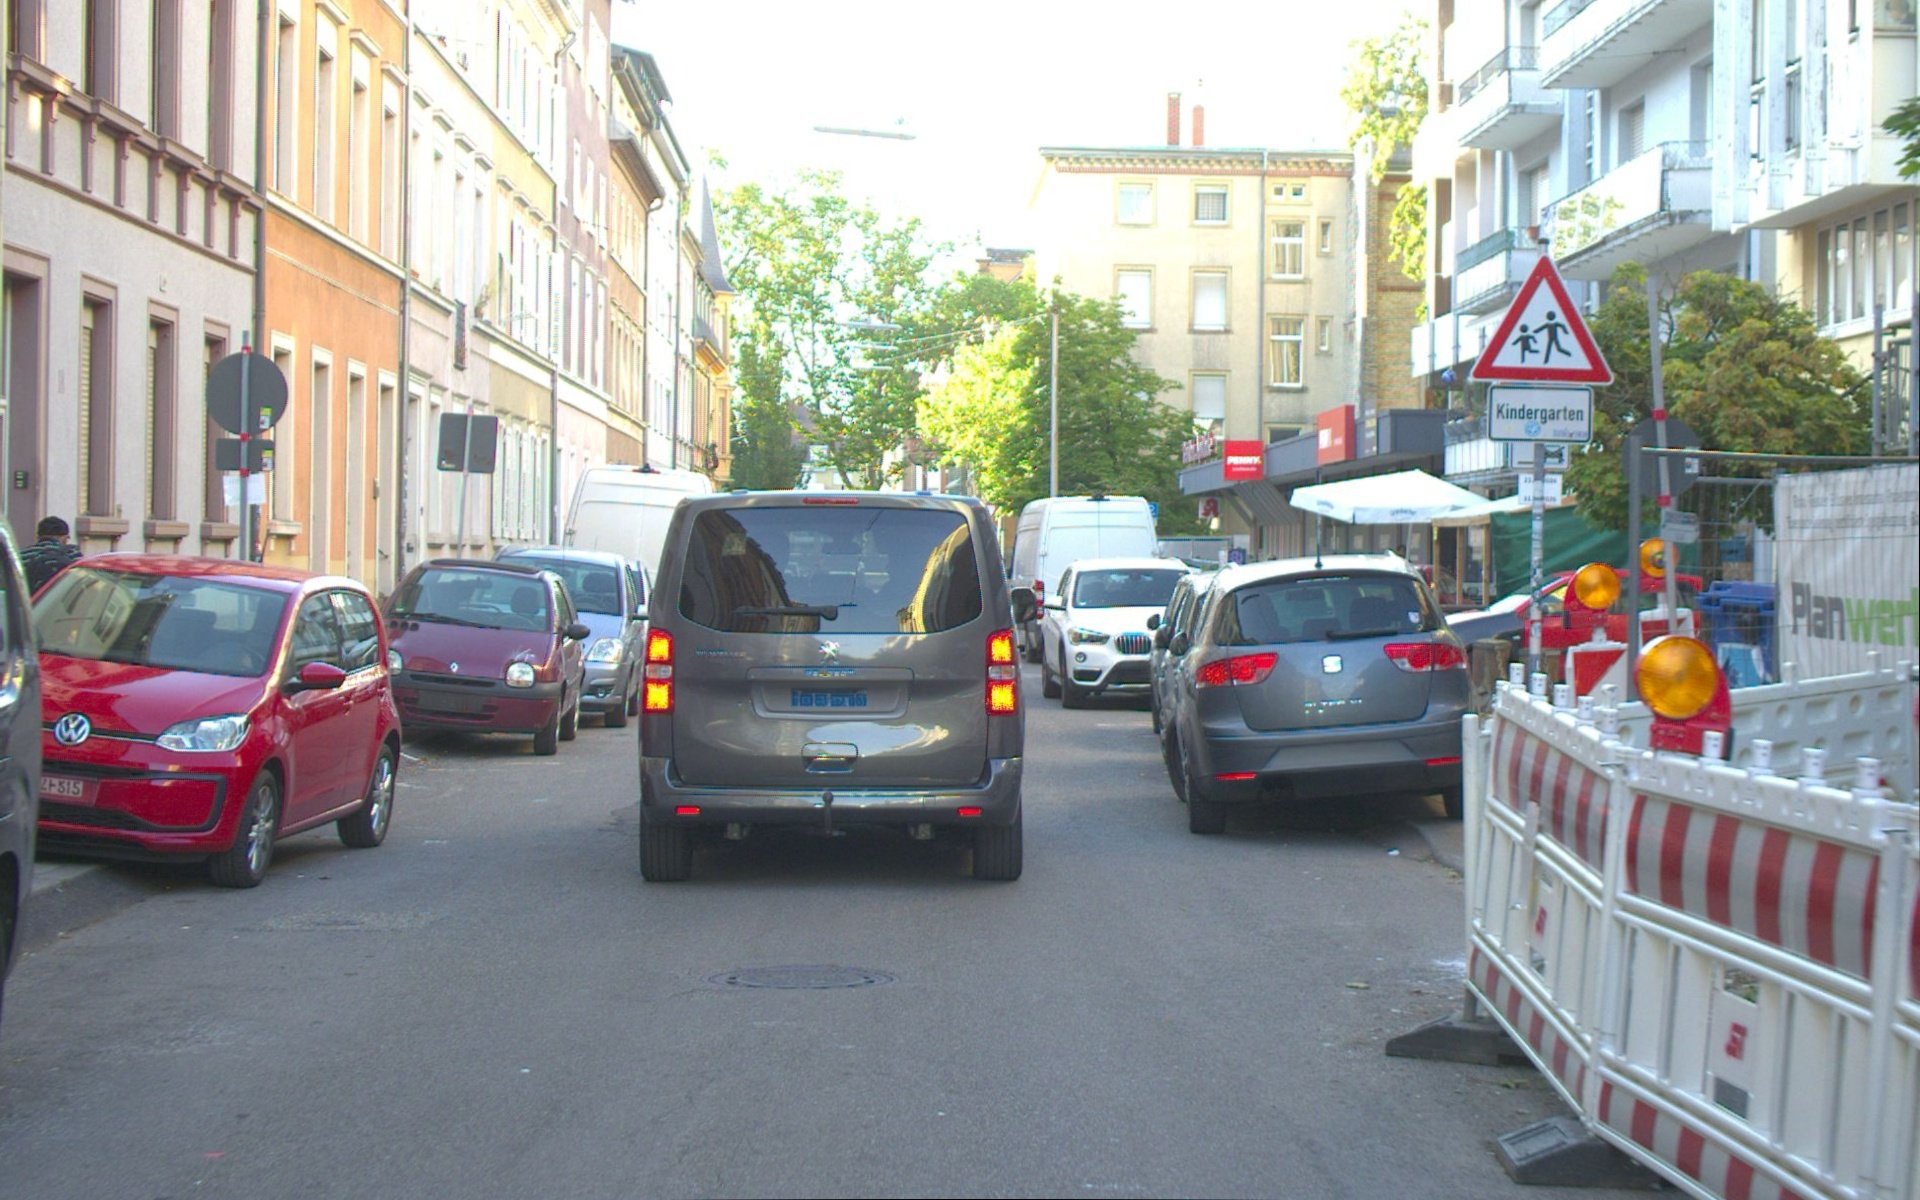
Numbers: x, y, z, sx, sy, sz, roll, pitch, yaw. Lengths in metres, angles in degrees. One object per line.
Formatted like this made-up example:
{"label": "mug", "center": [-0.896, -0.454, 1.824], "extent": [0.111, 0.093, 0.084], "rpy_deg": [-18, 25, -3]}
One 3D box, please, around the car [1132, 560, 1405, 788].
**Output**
{"label": "car", "center": [2.251, 0.496, 25.911], "extent": [1.621, 1.552, 3.694], "rpy_deg": [1, 1, -1]}

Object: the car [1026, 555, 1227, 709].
{"label": "car", "center": [1.812, 0.313, 38.723], "extent": [1.722, 1.606, 4.589], "rpy_deg": [1, 1, -4]}

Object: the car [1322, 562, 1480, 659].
{"label": "car", "center": [6.690, 0.139, 51.915], "extent": [1.602, 1.411, 3.225], "rpy_deg": [0, 1, 22]}

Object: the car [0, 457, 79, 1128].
{"label": "car", "center": [-3.564, 0.535, 8.031], "extent": [1.993, 1.852, 4.585], "rpy_deg": [1, 1, -3]}

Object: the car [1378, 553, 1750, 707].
{"label": "car", "center": [6.921, 0.328, 39.606], "extent": [3.895, 1.602, 1.694], "rpy_deg": [2, 1, -2]}

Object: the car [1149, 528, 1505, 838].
{"label": "car", "center": [2.174, 0.432, 21.482], "extent": [1.749, 1.677, 4.525], "rpy_deg": [2, 1, 1]}

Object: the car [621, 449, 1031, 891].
{"label": "car", "center": [-0.687, 0.288, 17.853], "extent": [1.857, 2.007, 4.000], "rpy_deg": [-1, 1, -2]}

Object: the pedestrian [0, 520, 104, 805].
{"label": "pedestrian", "center": [-5.391, 0.358, 20.226], "extent": [0.495, 1.633, 0.665], "rpy_deg": [2, 0, -1]}

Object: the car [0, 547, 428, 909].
{"label": "car", "center": [-3.970, 0.554, 17.356], "extent": [1.669, 1.480, 3.605], "rpy_deg": [6, 1, 4]}

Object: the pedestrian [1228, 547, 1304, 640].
{"label": "pedestrian", "center": [5.690, -0.127, 63.967], "extent": [0.932, 1.714, 1.063], "rpy_deg": [-1, 1, -35]}

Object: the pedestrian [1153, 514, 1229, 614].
{"label": "pedestrian", "center": [3.663, -0.578, 54.515], "extent": [0.870, 1.550, 0.876], "rpy_deg": [-2, 1, -23]}

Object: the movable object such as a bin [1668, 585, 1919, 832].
{"label": "movable object such as a bin", "center": [4.882, 0.626, 19.911], "extent": [1.250, 1.371, 0.802], "rpy_deg": [2, 0, -26]}

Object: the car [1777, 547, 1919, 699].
{"label": "car", "center": [11.551, 0.253, 38.777], "extent": [4.106, 1.653, 2.000], "rpy_deg": [0, 1, -5]}

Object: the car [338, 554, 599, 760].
{"label": "car", "center": [-3.890, 0.413, 27.650], "extent": [1.657, 1.443, 3.286], "rpy_deg": [4, 1, -2]}

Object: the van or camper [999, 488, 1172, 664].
{"label": "van or camper", "center": [1.902, -0.408, 54.558], "extent": [2.099, 2.593, 7.513], "rpy_deg": [0, 1, -3]}

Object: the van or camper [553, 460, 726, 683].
{"label": "van or camper", "center": [-4.053, -0.391, 44.472], "extent": [1.949, 2.640, 7.142], "rpy_deg": [0, 1, -3]}

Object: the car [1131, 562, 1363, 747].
{"label": "car", "center": [2.480, 0.428, 30.563], "extent": [1.620, 1.481, 4.125], "rpy_deg": [-1, 1, -1]}

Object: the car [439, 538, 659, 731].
{"label": "car", "center": [-3.879, 0.279, 32.980], "extent": [1.711, 1.638, 3.980], "rpy_deg": [3, 1, -3]}
